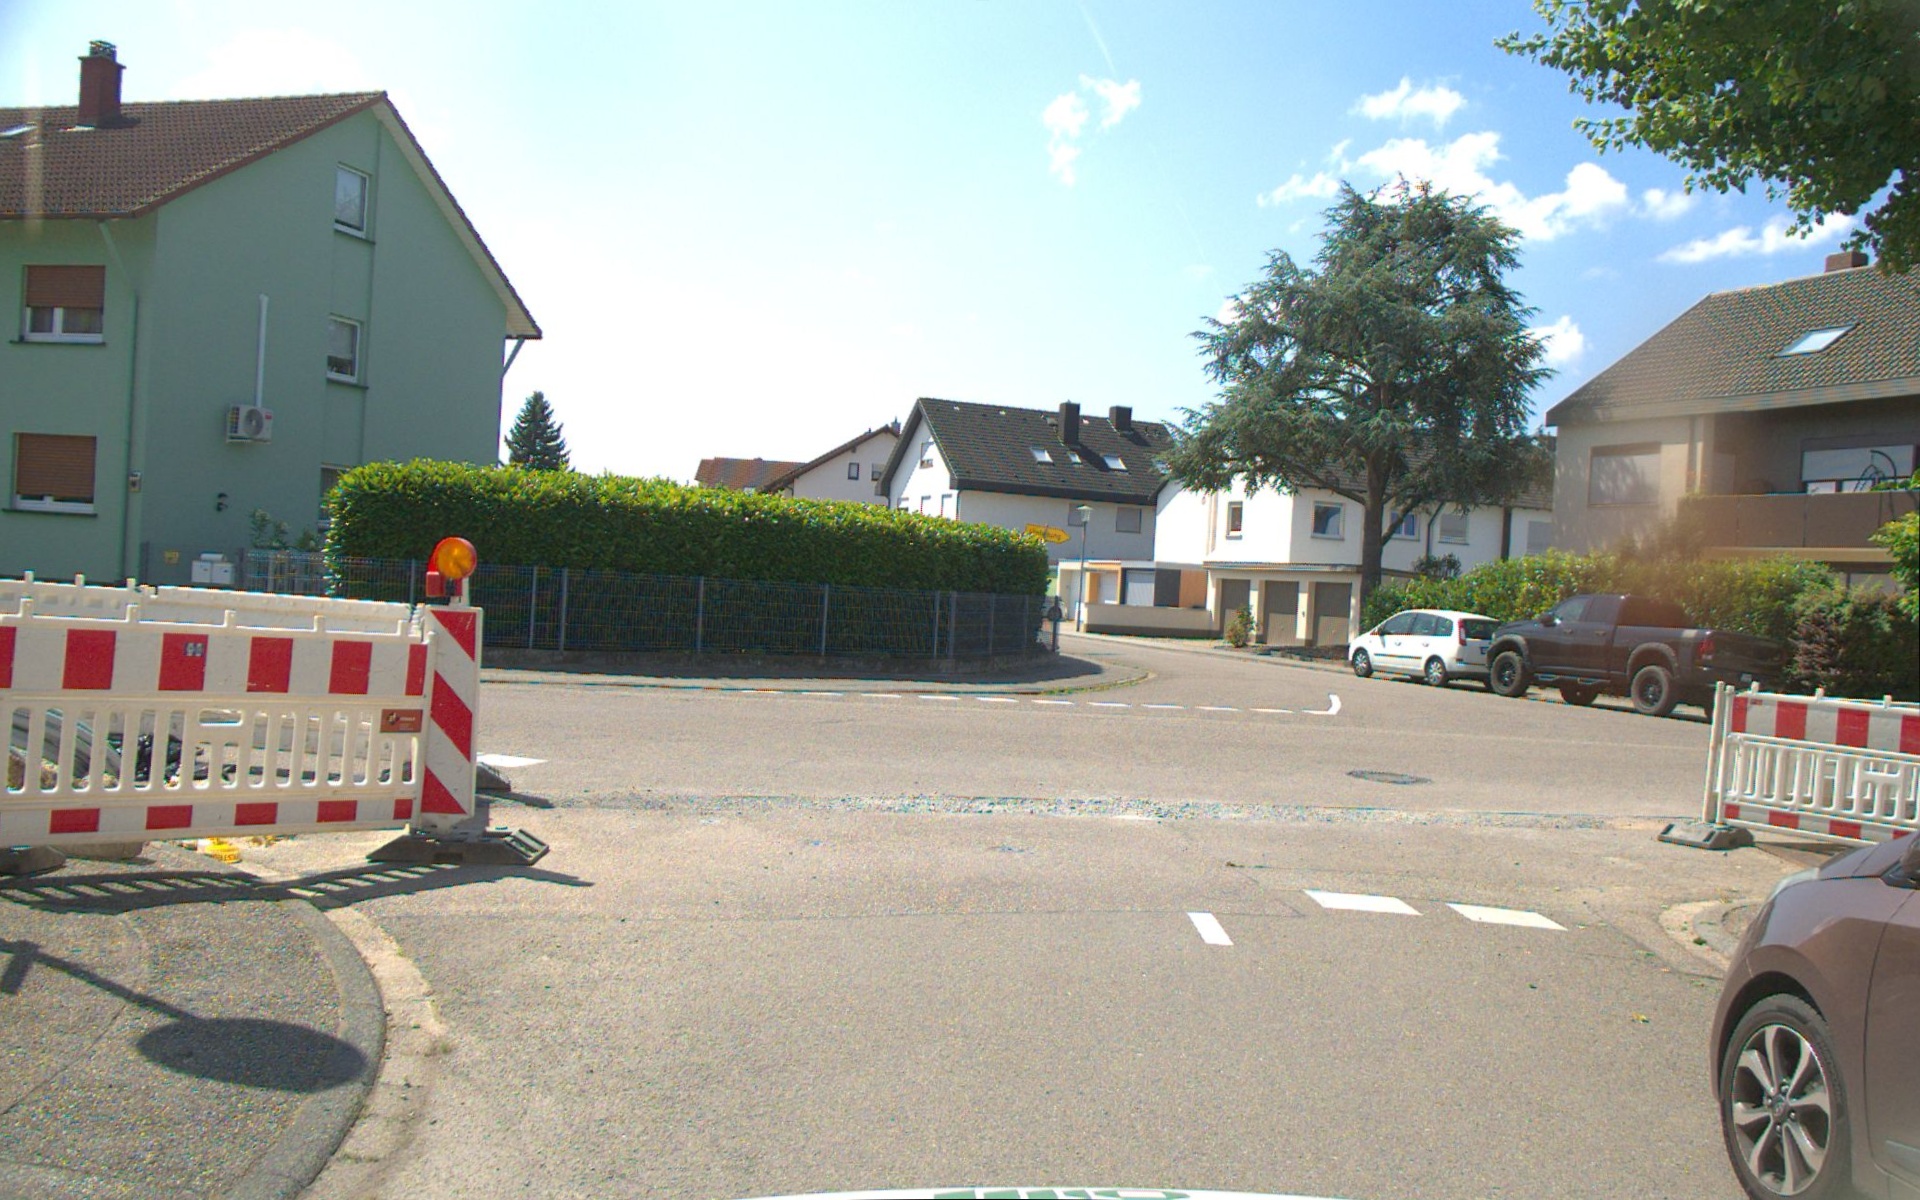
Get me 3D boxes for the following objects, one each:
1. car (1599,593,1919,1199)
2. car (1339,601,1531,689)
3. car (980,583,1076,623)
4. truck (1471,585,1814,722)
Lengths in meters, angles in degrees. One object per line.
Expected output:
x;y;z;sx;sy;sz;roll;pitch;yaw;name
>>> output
3.023;0.872;3.345;1.679;1.558;4.034;7;0;-1;car
10.324;0.948;36.252;1.774;1.590;4.114;3;1;-23;car
2.848;0.132;69.181;3.548;1.433;1.773;3;1;-22;car
12.191;0.889;30.075;2.333;2.048;5.670;3;1;-24;truck
